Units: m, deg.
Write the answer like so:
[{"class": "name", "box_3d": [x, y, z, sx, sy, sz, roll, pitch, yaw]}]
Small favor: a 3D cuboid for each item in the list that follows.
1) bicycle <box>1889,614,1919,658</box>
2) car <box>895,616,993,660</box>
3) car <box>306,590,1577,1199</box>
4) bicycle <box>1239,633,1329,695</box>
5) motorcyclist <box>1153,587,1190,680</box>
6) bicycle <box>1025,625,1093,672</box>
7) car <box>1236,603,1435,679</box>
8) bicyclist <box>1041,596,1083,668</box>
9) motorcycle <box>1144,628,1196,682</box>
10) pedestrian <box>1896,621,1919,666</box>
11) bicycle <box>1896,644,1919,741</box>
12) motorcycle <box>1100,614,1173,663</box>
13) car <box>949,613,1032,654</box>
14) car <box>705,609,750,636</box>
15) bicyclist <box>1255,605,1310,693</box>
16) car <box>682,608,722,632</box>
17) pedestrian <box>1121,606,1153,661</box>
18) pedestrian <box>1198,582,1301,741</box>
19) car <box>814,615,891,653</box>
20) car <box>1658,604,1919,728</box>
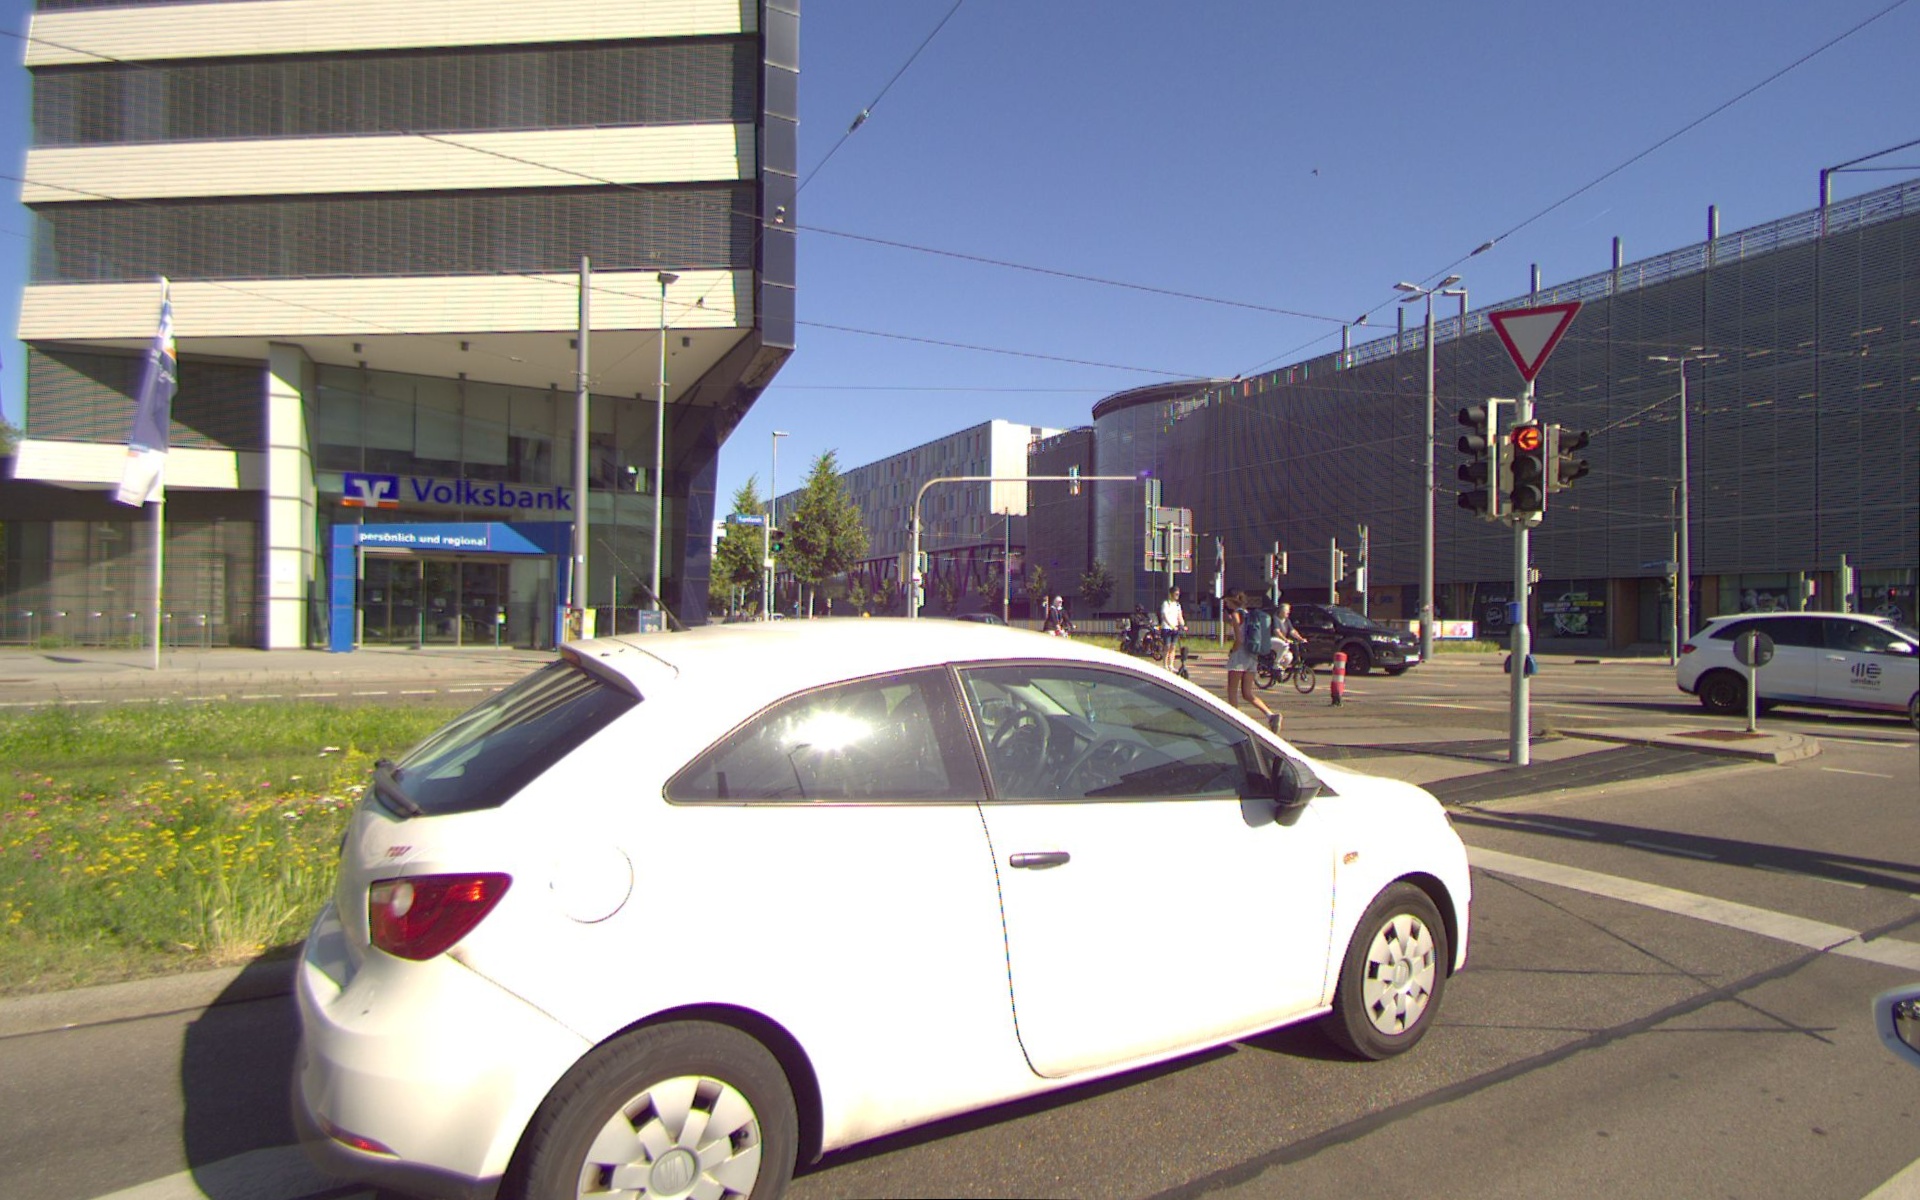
[{"class": "bicycle", "box_3d": [46.409, 1.717, 47.080, 1.314, 2.040, 3.969, 1, 0, -29]}, {"class": "car", "box_3d": [-0.654, 1.338, 36.579, 1.890, 1.483, 4.059, 1, -1, -29]}, {"class": "car", "box_3d": [0.140, 0.763, 3.310, 3.738, 1.442, 1.624, 1, 2, -30]}, {"class": "bicycle", "box_3d": [6.246, 1.211, 19.446, 0.726, 1.121, 1.568, 1, -1, -31]}, {"class": "motorcyclist", "box_3d": [4.681, 0.737, 22.265, 0.491, 2.040, 0.625, 1, -1, -30]}, {"class": "bicycle", "box_3d": [2.525, 1.221, 25.747, 0.687, 1.050, 1.915, 1, 1, -32]}, {"class": "car", "box_3d": [9.389, 0.962, 25.520, 1.819, 1.741, 4.609, 0, 0, -32]}, {"class": "bicyclist", "box_3d": [2.598, 0.816, 25.677, 0.755, 1.812, 0.758, 1, -1, -33]}, {"class": "motorcycle", "box_3d": [4.658, 1.202, 22.302, 0.477, 1.136, 1.181, 1, -1, -30]}, {"class": "pedestrian", "box_3d": [41.163, 1.864, 43.315, 0.804, 1.893, 0.906, 0, -1, 13]}, {"class": "bicycle", "box_3d": [11.952, 1.083, 11.377, 0.843, 1.131, 1.821, 1, -1, -29]}, {"class": "motorcycle", "box_3d": [5.578, 1.187, 31.852, 0.904, 1.438, 2.430, 1, 0, -31]}, {"class": "car", "box_3d": [1.178, 1.350, 40.982, 1.800, 1.545, 3.737, 1, -1, -27]}, {"class": "car", "box_3d": [-15.027, 1.452, 64.849, 1.824, 1.673, 4.221, 1, -1, -28]}, {"class": "bicyclist", "box_3d": [6.271, 0.936, 19.541, 0.682, 1.670, 0.778, 1, -1, -32]}, {"class": "car", "box_3d": [-18.441, 1.436, 71.749, 1.824, 1.673, 4.221, 1, -1, -28]}, {"class": "pedestrian", "box_3d": [5.600, 1.049, 31.746, 0.657, 1.699, 0.740, 1, 0, -30]}, {"class": "pedestrian", "box_3d": [3.293, 0.677, 11.455, 0.704, 1.730, 0.881, 1, -1, -30]}, {"class": "car", "box_3d": [-4.989, 1.518, 45.947, 1.976, 1.637, 4.256, 1, -1, -30]}, {"class": "car", "box_3d": [13.095, 0.896, 14.647, 1.820, 1.656, 4.462, 0, -1, -33]}]
